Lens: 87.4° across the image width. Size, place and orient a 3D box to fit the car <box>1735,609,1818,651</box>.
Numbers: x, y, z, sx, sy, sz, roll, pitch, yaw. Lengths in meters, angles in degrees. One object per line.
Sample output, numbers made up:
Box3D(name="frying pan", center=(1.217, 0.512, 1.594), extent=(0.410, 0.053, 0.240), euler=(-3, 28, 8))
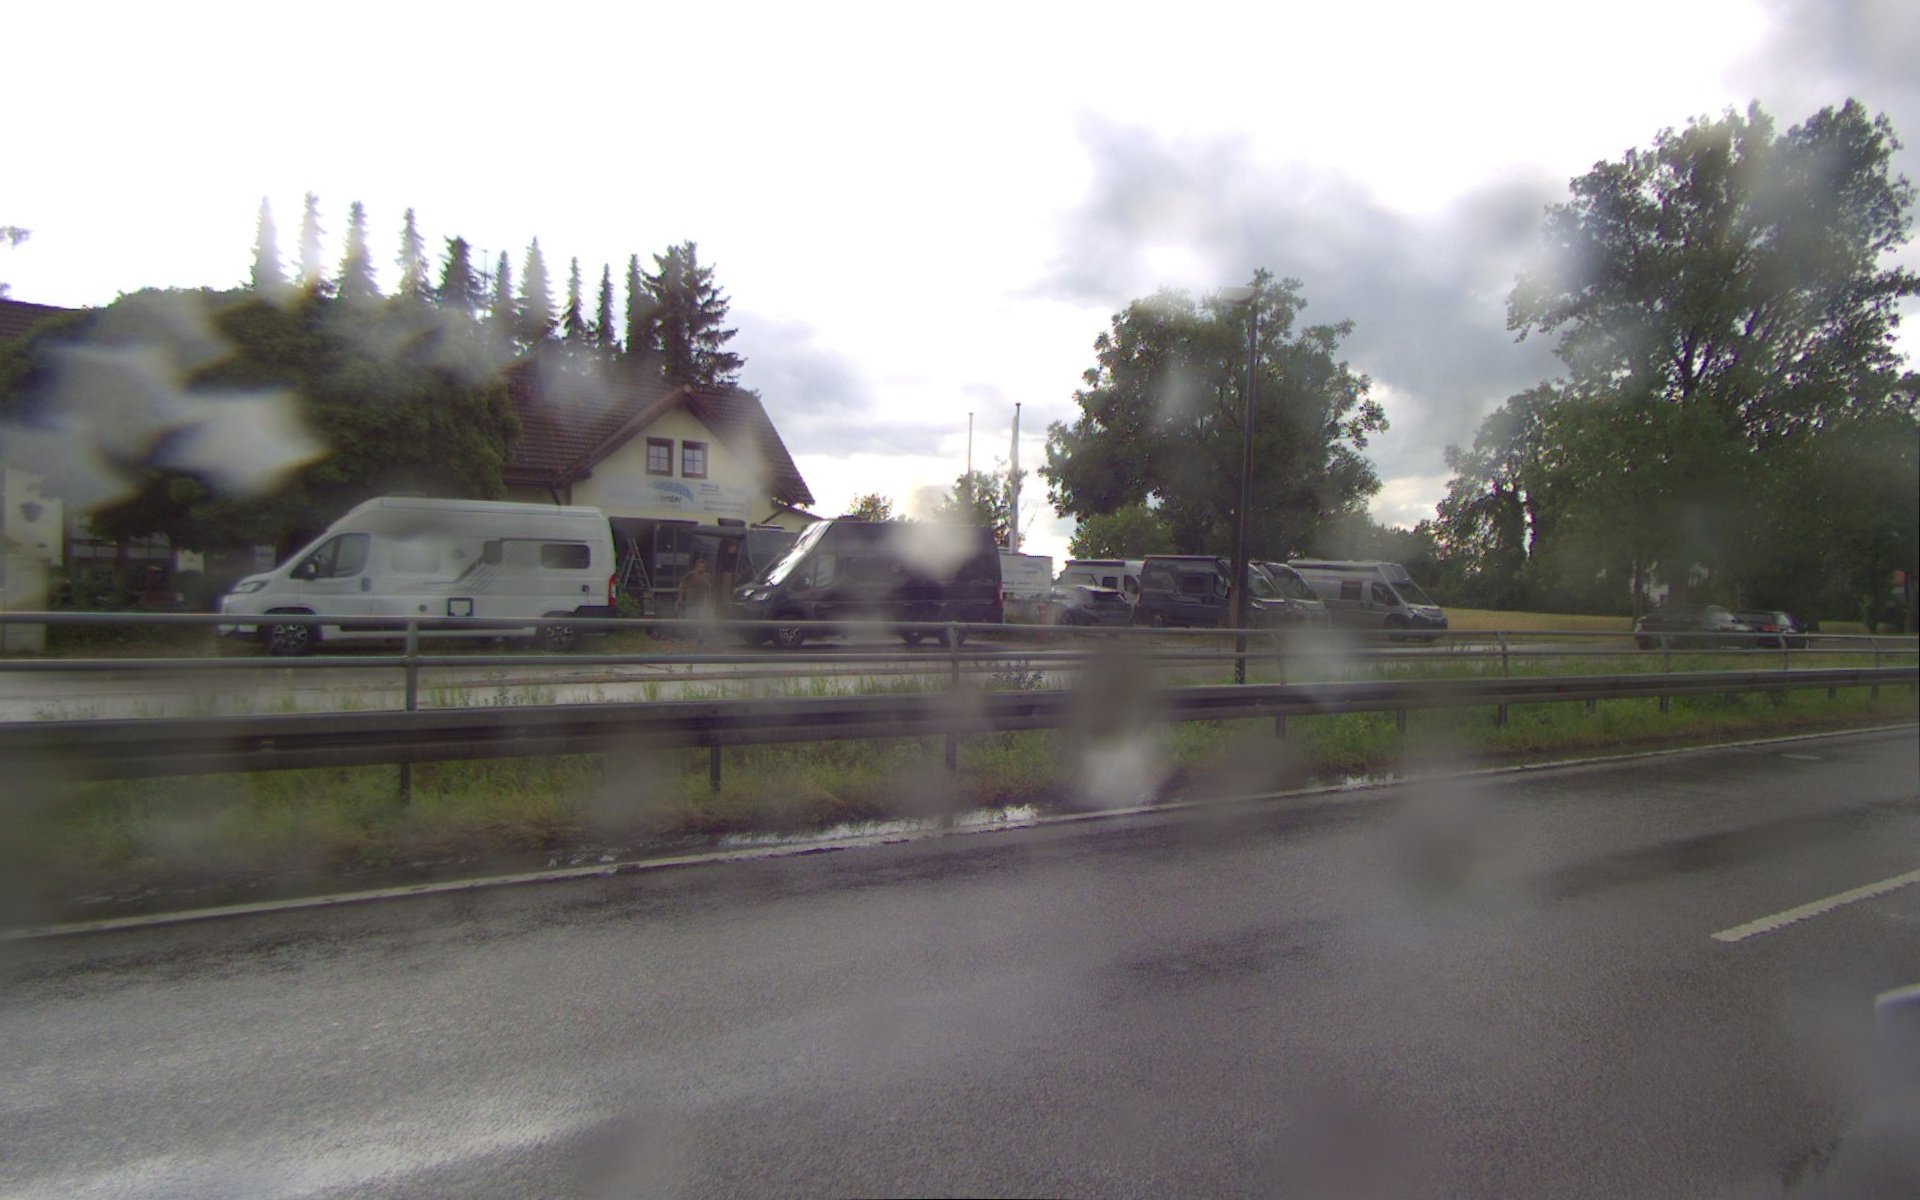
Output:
Box3D(name="car", center=(28.669, 1.035, 35.232), extent=(3.860, 1.349, 1.274), euler=(1, 1, -36))

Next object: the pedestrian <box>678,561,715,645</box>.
Box3D(name="pedestrian", center=(-5.544, 0.055, 21.108), extent=(0.641, 1.733, 0.514), euler=(1, 2, -23))

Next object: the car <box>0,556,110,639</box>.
Box3D(name="car", center=(-16.654, -0.073, 16.996), extent=(3.231, 1.374, 1.441), euler=(1, 1, -30))

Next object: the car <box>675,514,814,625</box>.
Box3D(name="car", center=(-6.227, -0.861, 28.440), extent=(2.142, 2.802, 5.609), euler=(1, 1, -30))

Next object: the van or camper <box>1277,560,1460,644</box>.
Box3D(name="van or camper", center=(14.513, -0.010, 36.069), extent=(2.061, 2.713, 5.834), euler=(1, 2, -35))

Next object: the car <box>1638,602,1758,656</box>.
Box3D(name="car", center=(23.219, 0.898, 31.539), extent=(5.072, 1.511, 1.505), euler=(1, 2, -36))

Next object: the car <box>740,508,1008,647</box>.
Box3D(name="car", center=(-1.877, -0.445, 22.686), extent=(5.514, 2.800, 2.369), euler=(1, 2, -34))

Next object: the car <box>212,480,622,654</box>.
Box3D(name="car", center=(-9.258, -0.483, 17.597), extent=(5.953, 2.615, 2.224), euler=(1, 2, -32))

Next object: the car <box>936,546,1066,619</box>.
Box3D(name="car", center=(1.460, -0.716, 39.009), extent=(2.067, 2.573, 6.061), euler=(1, 1, -30))

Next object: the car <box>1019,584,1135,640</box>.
Box3D(name="car", center=(3.475, 0.331, 30.587), extent=(1.521, 1.516, 3.867), euler=(1, 2, -29))

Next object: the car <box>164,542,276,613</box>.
Box3D(name="car", center=(-17.813, -0.579, 24.259), extent=(2.005, 1.576, 3.689), euler=(-1, 3, -36))

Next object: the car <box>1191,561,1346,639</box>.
Box3D(name="car", center=(10.741, -0.060, 35.395), extent=(1.979, 2.492, 5.061), euler=(1, 2, -33))

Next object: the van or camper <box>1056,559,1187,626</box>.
Box3D(name="van or camper", center=(6.837, -0.390, 43.125), extent=(1.981, 2.625, 5.762), euler=(1, 2, -36))

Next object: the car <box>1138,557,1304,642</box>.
Box3D(name="car", center=(8.427, -0.085, 32.954), extent=(1.980, 2.535, 5.147), euler=(1, 2, -35))
